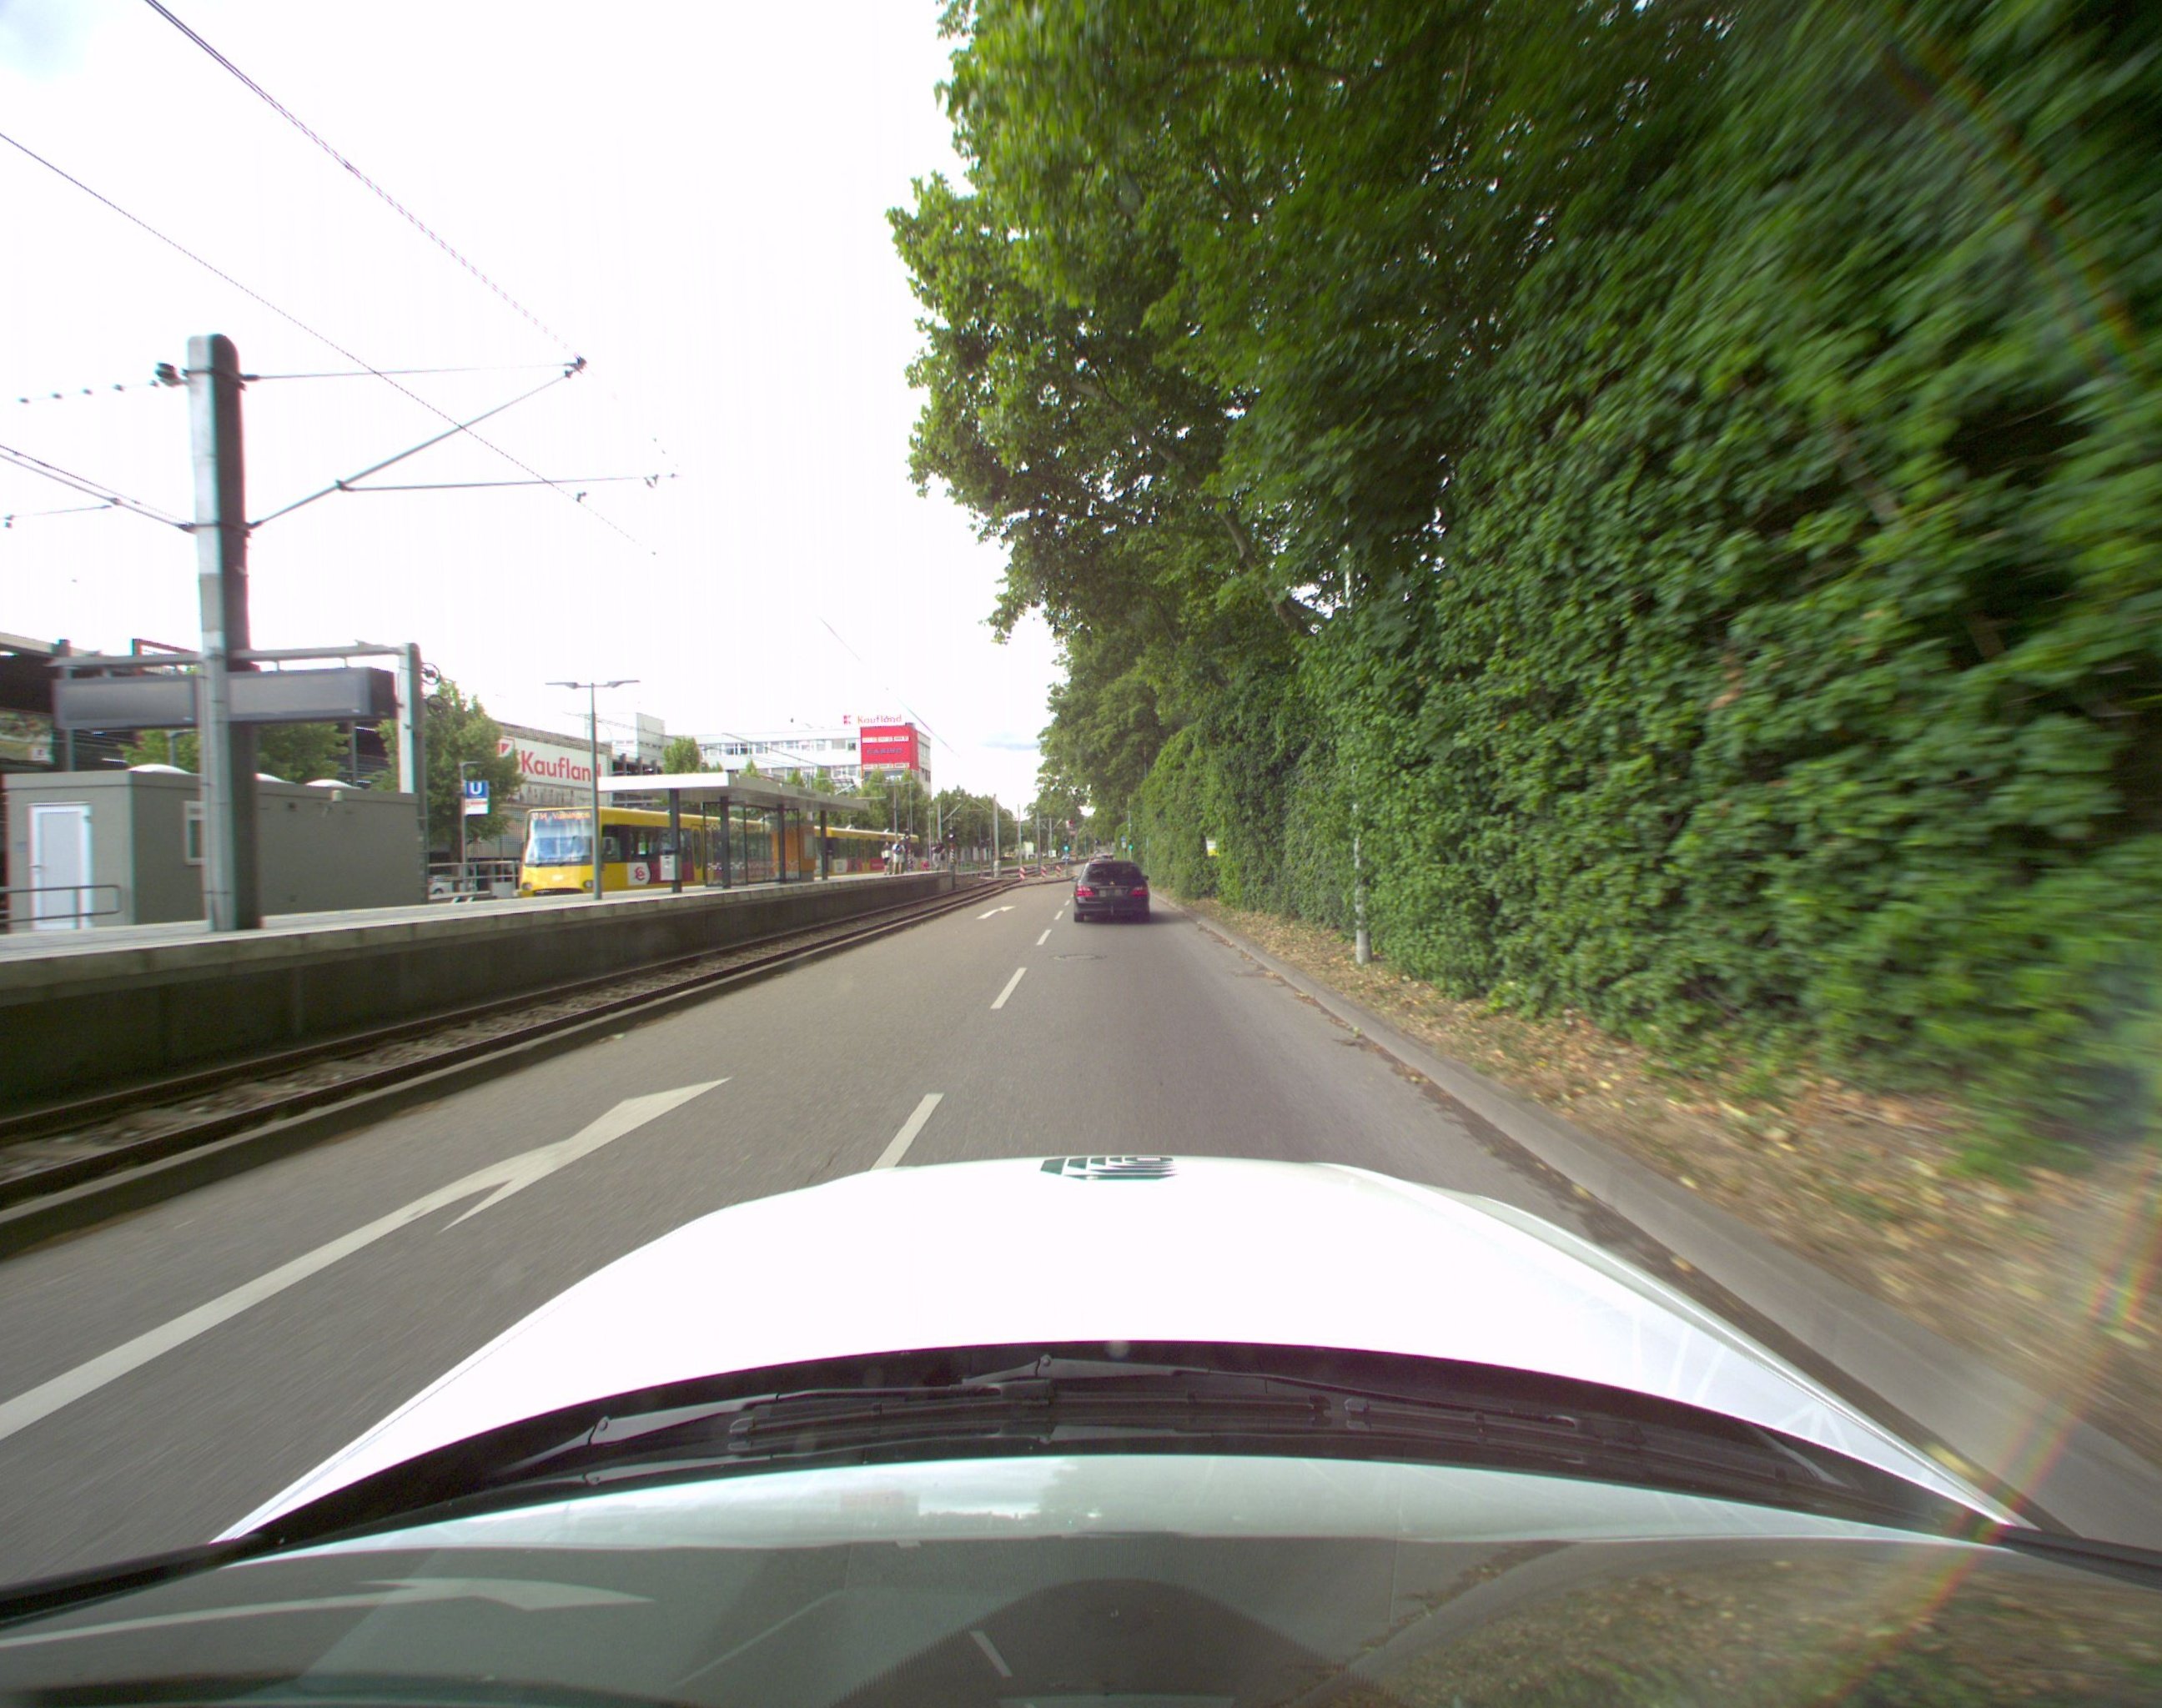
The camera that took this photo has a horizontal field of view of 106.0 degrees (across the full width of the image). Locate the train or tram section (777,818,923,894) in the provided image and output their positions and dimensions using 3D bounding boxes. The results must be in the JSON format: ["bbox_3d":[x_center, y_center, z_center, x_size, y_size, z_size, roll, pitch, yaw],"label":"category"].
[{"bbox_3d":[-13.877,0.075,51.856,2.745,3.828,18.649,-3,0,3],"label":"train or tram section"}]

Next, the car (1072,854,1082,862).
[{"bbox_3d":[-0.848,0.791,168.454,1.817,1.530,3.931,-1,0,3],"label":"car"}]

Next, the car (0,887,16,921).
[{"bbox_3d":[-48.219,2.211,34.122,1.816,1.457,4.002,-2,0,2],"label":"car"}]

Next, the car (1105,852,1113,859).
[{"bbox_3d":[6.386,0.403,185.288,1.817,1.530,3.931,-1,0,3],"label":"car"}]

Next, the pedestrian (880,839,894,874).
[{"bbox_3d":[-8.525,0.103,35.828,0.477,1.483,0.538,-3,-1,-22],"label":"pedestrian"}]

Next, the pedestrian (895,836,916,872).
[{"bbox_3d":[-8.528,-0.003,39.608,0.768,1.678,0.791,-3,-1,1],"label":"pedestrian"}]

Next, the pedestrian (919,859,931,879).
[{"bbox_3d":[-13.036,1.238,68.024,0.607,1.654,0.800,-3,-1,23],"label":"pedestrian"}]

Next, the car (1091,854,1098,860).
[{"bbox_3d":[3.534,0.867,212.669,1.817,1.530,3.989,-1,0,3],"label":"car"}]

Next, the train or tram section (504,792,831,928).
[{"bbox_3d":[-15.016,0.174,33.235,2.745,3.882,18.647,-3,0,3],"label":"train or tram section"}]

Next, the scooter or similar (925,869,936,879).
[{"bbox_3d":[-12.498,1.636,67.813,0.491,0.768,0.803,-3,0,22],"label":"scooter or similar"}]

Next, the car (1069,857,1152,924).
[{"bbox_3d":[0.752,0.823,20.377,1.826,1.478,4.418,-1,0,2],"label":"car"}]

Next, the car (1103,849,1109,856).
[{"bbox_3d":[7.856,-0.575,257.370,1.884,2.013,3.899,-3,0,2],"label":"car"}]

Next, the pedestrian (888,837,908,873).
[{"bbox_3d":[-7.858,0.041,35.000,0.514,1.482,0.585,-4,-1,39],"label":"pedestrian"}]

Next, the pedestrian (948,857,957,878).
[{"bbox_3d":[-10.739,1.115,67.839,0.513,1.662,0.467,-3,-1,12],"label":"pedestrian"}]

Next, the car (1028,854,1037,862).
[{"bbox_3d":[-13.282,1.120,223.887,1.986,2.013,4.001,-3,0,1],"label":"car"}]

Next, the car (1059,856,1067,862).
[{"bbox_3d":[-4.893,1.354,219.815,1.651,1.393,3.726,-1,0,7],"label":"car"}]

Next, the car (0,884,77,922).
[{"bbox_3d":[-45.596,2.118,34.120,1.985,1.473,4.003,-3,0,3],"label":"car"}]

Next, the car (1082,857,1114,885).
[{"bbox_3d":[1.039,0.976,48.912,1.819,1.530,4.417,-1,0,1],"label":"car"}]

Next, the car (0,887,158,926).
[{"bbox_3d":[-42.132,2.182,34.207,1.985,1.310,4.003,-3,0,3],"label":"car"}]

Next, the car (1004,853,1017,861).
[{"bbox_3d":[-16.695,0.781,192.887,1.984,1.743,4.995,-2,0,6],"label":"car"}]

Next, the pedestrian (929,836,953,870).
[{"bbox_3d":[-7.109,-0.042,41.392,0.881,1.678,0.736,-3,-1,-45],"label":"pedestrian"}]

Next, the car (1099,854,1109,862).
[{"bbox_3d":[4.605,0.796,164.096,1.817,1.530,4.419,-2,0,3],"label":"car"}]
